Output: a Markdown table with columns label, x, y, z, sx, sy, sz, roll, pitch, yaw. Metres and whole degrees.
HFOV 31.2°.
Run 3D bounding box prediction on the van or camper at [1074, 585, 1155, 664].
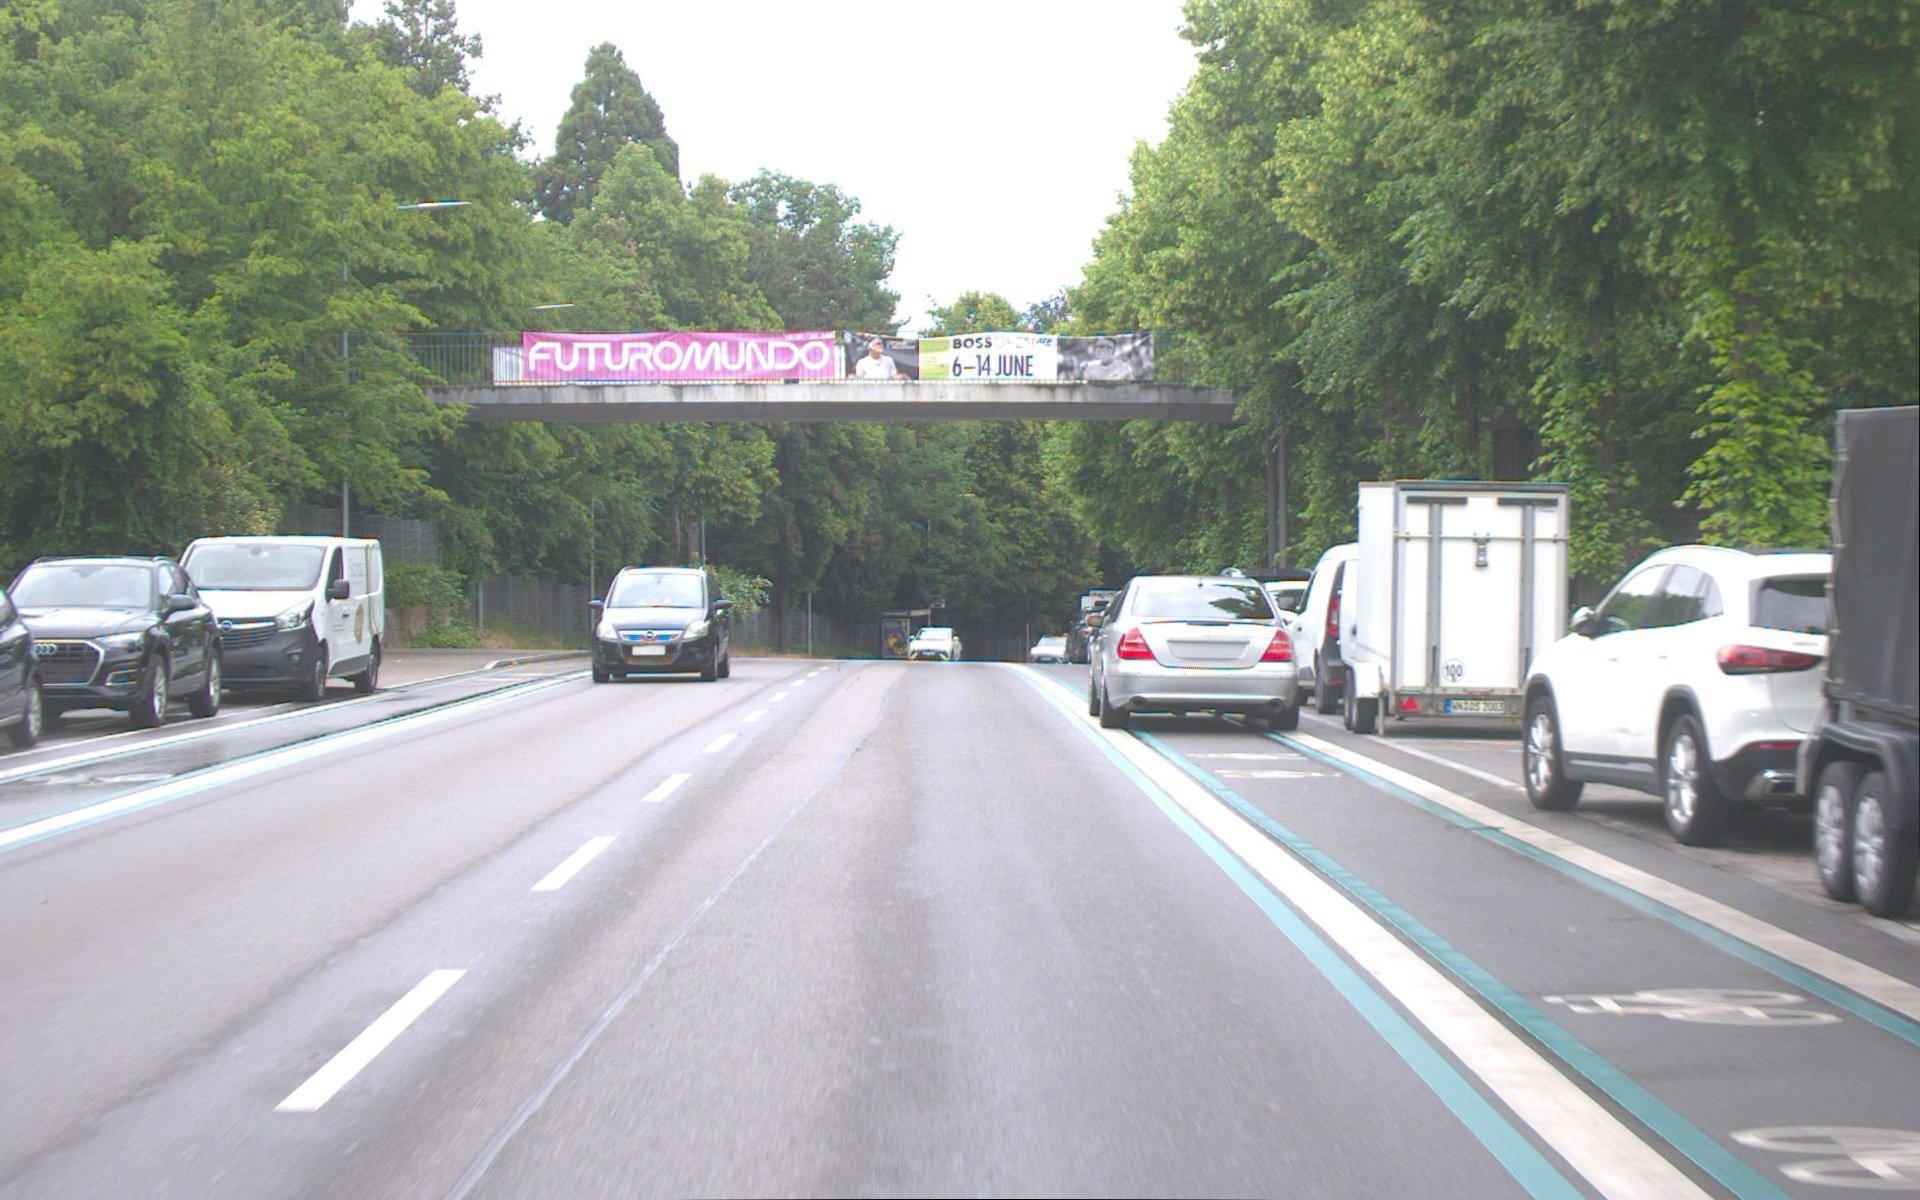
| label | x | y | z | sx | sy | sz | roll | pitch | yaw |
| --- | --- | --- | --- | --- | --- | --- | --- | --- | --- |
| van or camper | 5.476 | 0.896 | 121.084 | 2.317 | 2.656 | 6.380 | 1 | -1 | 7 |

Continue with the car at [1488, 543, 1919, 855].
| label | x | y | z | sx | sy | sz | roll | pitch | yaw |
| --- | --- | --- | --- | --- | --- | --- | --- | --- | --- |
| car | 4.486 | 0.485 | 19.703 | 1.755 | 1.579 | 4.415 | 1 | 1 | -7 |

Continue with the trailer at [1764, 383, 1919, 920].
| label | x | y | z | sx | sy | sz | roll | pitch | yaw |
| --- | --- | --- | --- | --- | --- | --- | --- | --- | --- |
| trailer | 4.717 | 0.219 | 15.315 | 1.346 | 2.261 | 3.564 | 1 | 1 | -1 |

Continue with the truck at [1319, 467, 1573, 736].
| label | x | y | z | sx | sy | sz | roll | pitch | yaw |
| --- | --- | --- | --- | --- | --- | --- | --- | --- | --- |
| truck | 4.452 | -0.007 | 32.023 | 1.719 | 2.325 | 4.000 | 1 | 1 | -1 |

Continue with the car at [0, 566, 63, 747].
| label | x | y | z | sx | sy | sz | roll | pitch | yaw |
| --- | --- | --- | --- | --- | --- | --- | --- | --- | --- |
| car | -8.548 | 0.470 | 27.698 | 1.608 | 1.441 | 4.038 | -1 | 1 | -1 |

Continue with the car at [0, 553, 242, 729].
| label | x | y | z | sx | sy | sz | roll | pitch | yaw |
| --- | --- | --- | --- | --- | --- | --- | --- | --- | --- |
| car | -8.528 | 0.354 | 34.266 | 1.824 | 1.610 | 4.663 | -1 | 1 | -1 |

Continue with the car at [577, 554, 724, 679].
| label | x | y | z | sx | sy | sz | roll | pitch | yaw |
| --- | --- | --- | --- | --- | --- | --- | --- | --- | --- |
| car | -4.322 | 0.200 | 48.456 | 1.710 | 1.612 | 4.150 | -2 | 1 | -1 |

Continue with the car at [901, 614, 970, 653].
| label | x | y | z | sx | sy | sz | roll | pitch | yaw |
| --- | --- | --- | --- | --- | --- | --- | --- | --- | --- |
| car | -0.973 | 1.336 | 137.591 | 1.973 | 1.547 | 3.868 | 1 | 0 | 12 |

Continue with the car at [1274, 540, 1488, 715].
| label | x | y | z | sx | sy | sz | roll | pitch | yaw |
| --- | --- | --- | --- | --- | --- | --- | --- | --- | --- |
| car | 4.531 | 0.248 | 37.545 | 1.722 | 1.784 | 4.346 | 1 | 1 | -1 |

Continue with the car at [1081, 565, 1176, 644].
| label | x | y | z | sx | sy | sz | roll | pitch | yaw |
| --- | --- | --- | --- | --- | --- | --- | --- | --- | --- |
| car | 3.609 | 0.116 | 74.285 | 1.713 | 1.613 | 4.261 | 1 | -1 | -2 |

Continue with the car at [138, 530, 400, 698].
| label | x | y | z | sx | sy | sz | roll | pitch | yaw |
| --- | --- | --- | --- | --- | --- | --- | --- | --- | --- |
| car | -8.322 | 0.118 | 41.893 | 1.979 | 1.908 | 5.227 | 0 | 1 | 2 |

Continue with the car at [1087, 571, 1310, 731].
| label | x | y | z | sx | sy | sz | roll | pitch | yaw |
| --- | --- | --- | --- | --- | --- | --- | --- | --- | --- |
| car | 2.212 | 0.436 | 32.943 | 1.721 | 1.393 | 4.591 | 1 | 1 | -1 |

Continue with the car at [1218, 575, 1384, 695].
| label | x | y | z | sx | sy | sz | roll | pitch | yaw |
| --- | --- | --- | --- | --- | --- | --- | --- | --- | --- |
| car | 4.311 | 0.413 | 44.029 | 1.660 | 1.421 | 4.618 | 1 | 1 | 0 |

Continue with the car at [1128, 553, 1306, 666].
| label | x | y | z | sx | sy | sz | roll | pitch | yaw |
| --- | --- | --- | --- | --- | --- | --- | --- | --- | --- |
| car | 3.720 | 0.106 | 50.569 | 1.993 | 1.555 | 4.643 | 1 | 1 | -3 |

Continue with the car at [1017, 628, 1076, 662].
| label | x | y | z | sx | sy | sz | roll | pitch | yaw |
| --- | --- | --- | --- | --- | --- | --- | --- | --- | --- |
| car | 4.207 | 2.191 | 166.786 | 1.798 | 1.571 | 4.098 | 0 | -1 | 18 |

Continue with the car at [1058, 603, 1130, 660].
| label | x | y | z | sx | sy | sz | roll | pitch | yaw |
| --- | --- | --- | --- | --- | --- | --- | --- | --- | --- |
| car | 3.474 | 0.835 | 89.483 | 1.775 | 1.344 | 4.465 | 1 | -2 | 2 |
